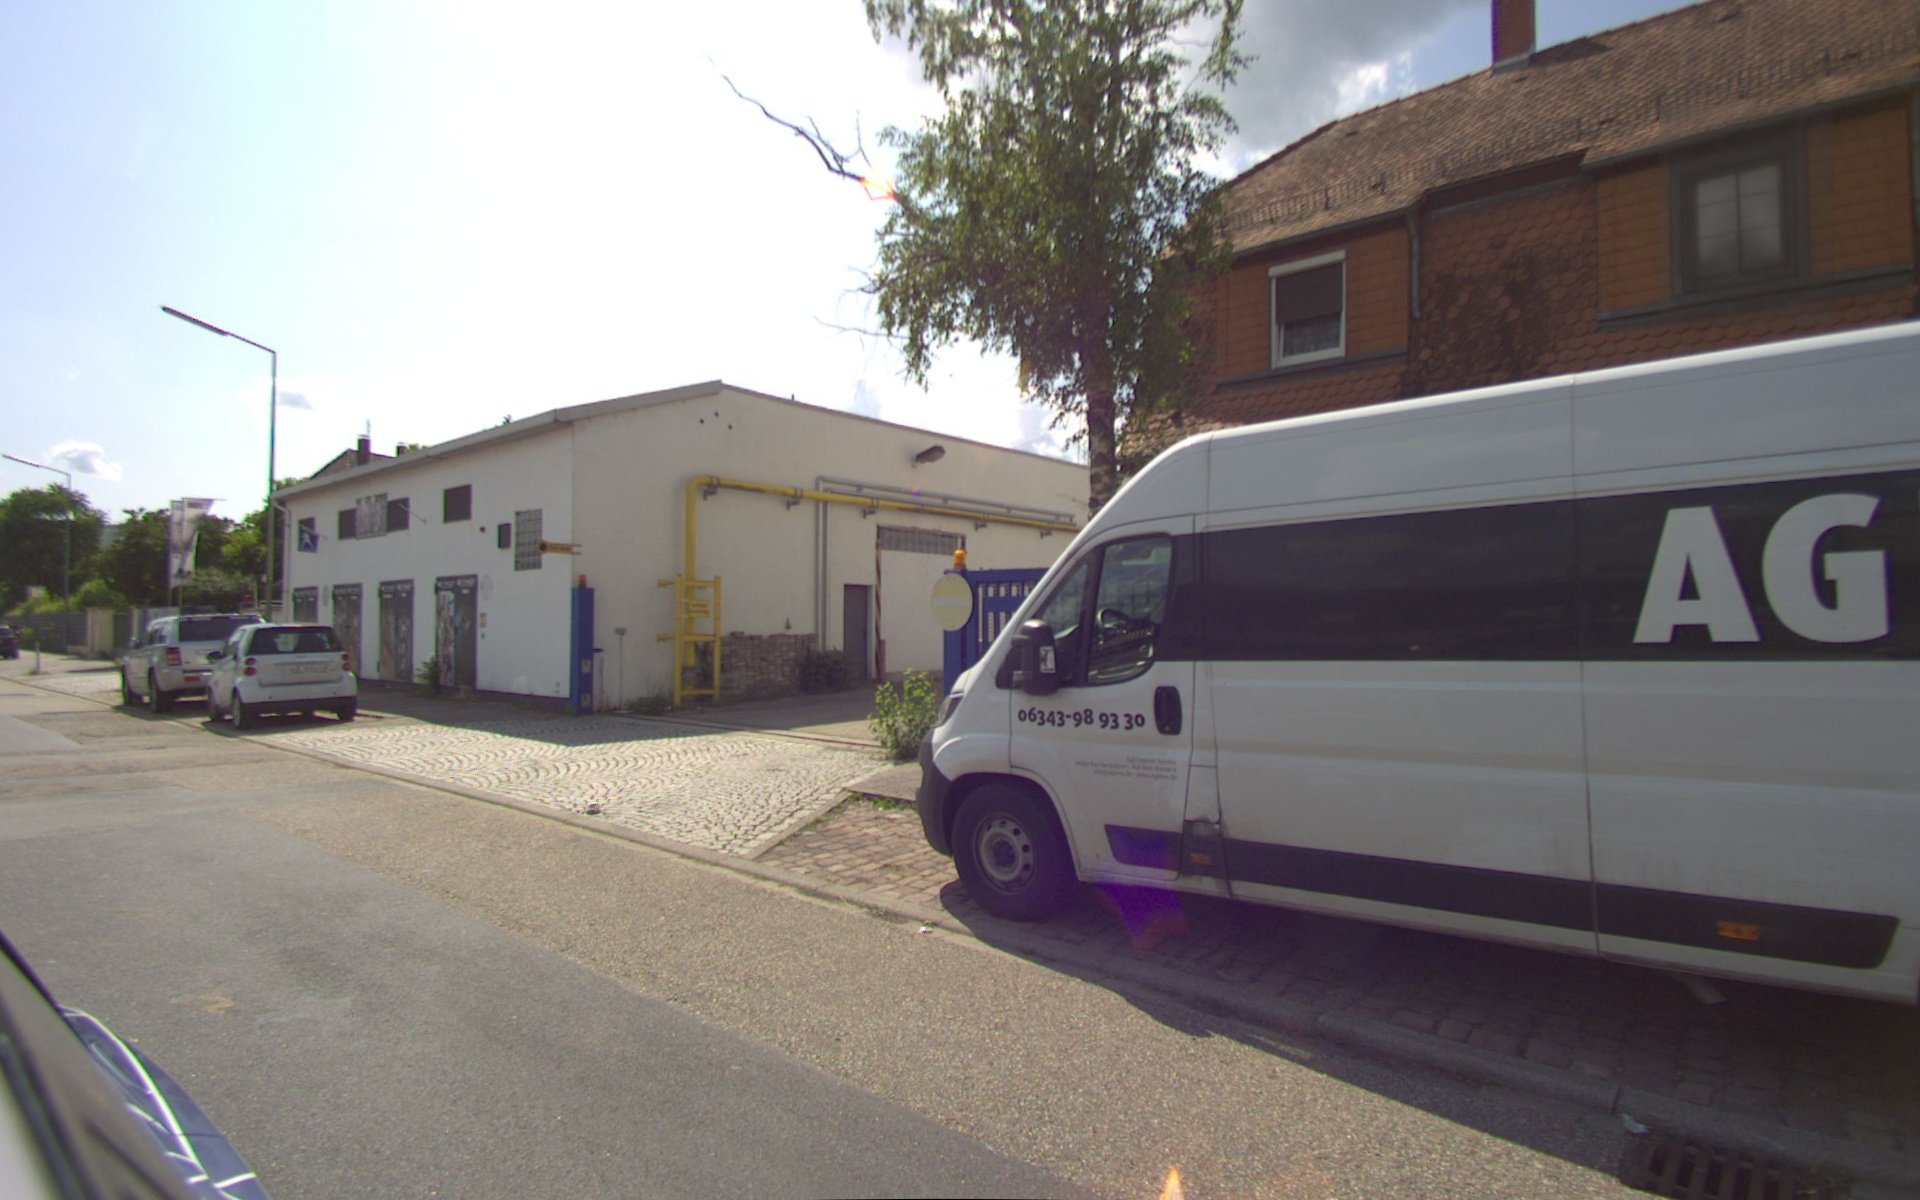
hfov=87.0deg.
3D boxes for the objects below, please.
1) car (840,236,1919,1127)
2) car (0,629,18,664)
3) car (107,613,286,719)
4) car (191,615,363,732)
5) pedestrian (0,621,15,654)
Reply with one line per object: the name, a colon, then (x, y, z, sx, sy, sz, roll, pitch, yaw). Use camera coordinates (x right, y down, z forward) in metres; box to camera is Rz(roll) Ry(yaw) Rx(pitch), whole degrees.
car: (2.516, 0.235, 4.449, 6.651, 2.577, 2.010, -1, 0, 40)
car: (-41.998, 2.012, 43.427, 4.493, 1.429, 1.787, -1, 0, 40)
car: (-14.578, 1.145, 19.217, 4.749, 1.732, 1.772, -1, 0, 41)
car: (-10.880, 1.092, 16.073, 3.009, 1.585, 1.592, -2, 1, 43)
pedestrian: (-52.530, 2.067, 55.680, 0.915, 1.814, 0.700, -1, -2, 41)
